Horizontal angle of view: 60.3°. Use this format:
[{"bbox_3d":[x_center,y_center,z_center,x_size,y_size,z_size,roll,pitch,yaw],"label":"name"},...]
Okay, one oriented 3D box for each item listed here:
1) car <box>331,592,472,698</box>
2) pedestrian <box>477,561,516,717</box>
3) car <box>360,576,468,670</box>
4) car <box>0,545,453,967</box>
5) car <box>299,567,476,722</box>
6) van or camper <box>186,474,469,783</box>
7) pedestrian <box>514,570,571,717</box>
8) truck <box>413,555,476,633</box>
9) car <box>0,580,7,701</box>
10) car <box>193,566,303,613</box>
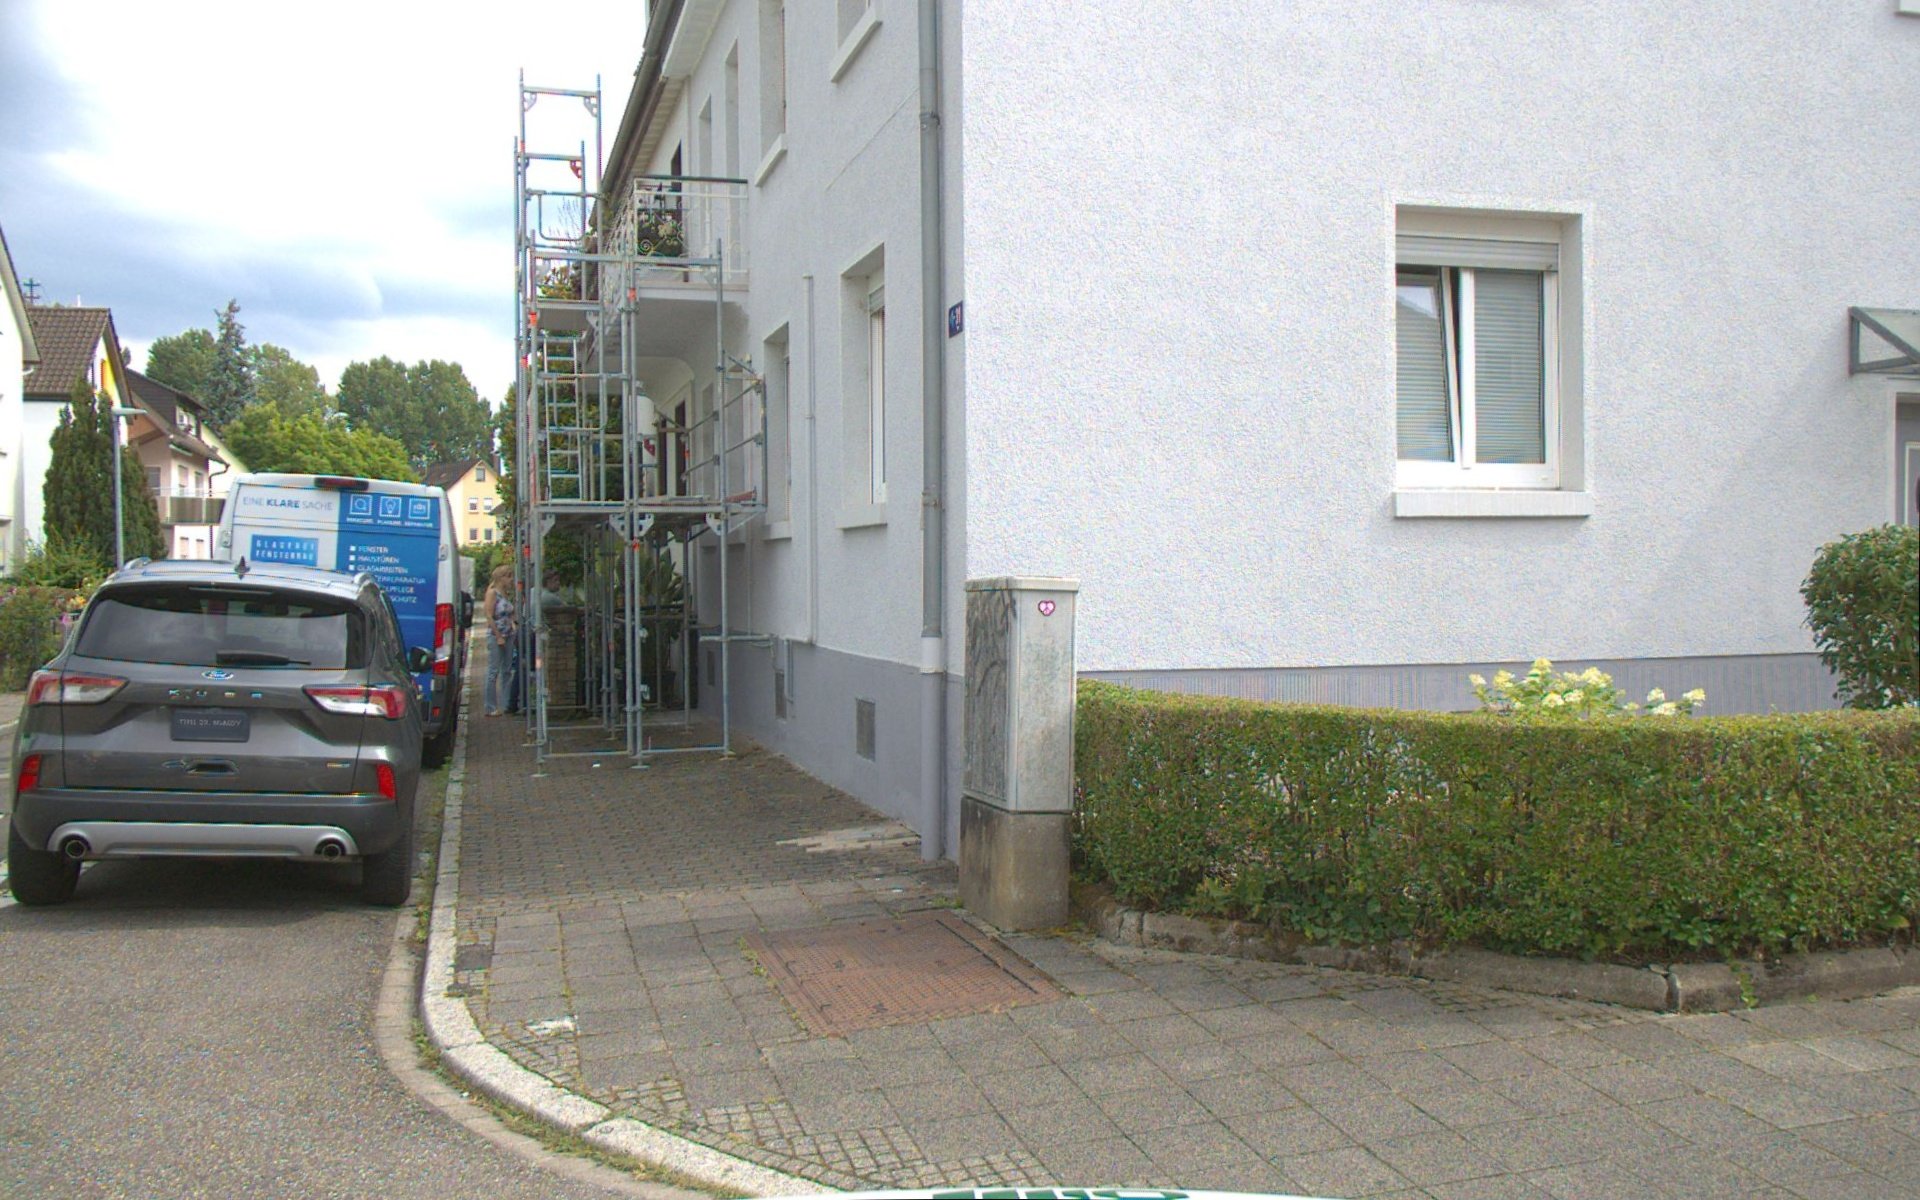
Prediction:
[{"bbox_3d":[-8.978,0.653,26.633,1.963,1.481,4.318,-1,1,-19],"label":"car"},{"bbox_3d":[-5.419,0.452,19.349,0.401,1.793,0.511,-1,-1,-15],"label":"pedestrian"},{"bbox_3d":[-11.307,0.415,34.247,1.963,1.780,4.318,-1,1,-19],"label":"car"},{"bbox_3d":[-3.943,0.620,9.265,1.963,1.757,4.318,-1,1,-19],"label":"car"},{"bbox_3d":[-7.512,0.492,21.813,1.963,1.803,4.318,-1,1,-19],"label":"car"},{"bbox_3d":[-5.946,0.177,16.142,2.157,2.502,5.031,-1,1,-17],"label":"van or camper"},{"bbox_3d":[-4.826,0.492,19.095,0.591,1.658,0.623,-1,-1,-16],"label":"pedestrian"},{"bbox_3d":[-18.907,-0.257,60.604,2.097,2.703,4.560,-1,1,-18],"label":"truck"},{"bbox_3d":[-14.982,0.606,22.214,3.519,1.696,1.578,-1,0,-21],"label":"car"},{"bbox_3d":[-28.624,-0.428,66.638,3.928,1.803,1.859,-1,-1,-20],"label":"car"}]
